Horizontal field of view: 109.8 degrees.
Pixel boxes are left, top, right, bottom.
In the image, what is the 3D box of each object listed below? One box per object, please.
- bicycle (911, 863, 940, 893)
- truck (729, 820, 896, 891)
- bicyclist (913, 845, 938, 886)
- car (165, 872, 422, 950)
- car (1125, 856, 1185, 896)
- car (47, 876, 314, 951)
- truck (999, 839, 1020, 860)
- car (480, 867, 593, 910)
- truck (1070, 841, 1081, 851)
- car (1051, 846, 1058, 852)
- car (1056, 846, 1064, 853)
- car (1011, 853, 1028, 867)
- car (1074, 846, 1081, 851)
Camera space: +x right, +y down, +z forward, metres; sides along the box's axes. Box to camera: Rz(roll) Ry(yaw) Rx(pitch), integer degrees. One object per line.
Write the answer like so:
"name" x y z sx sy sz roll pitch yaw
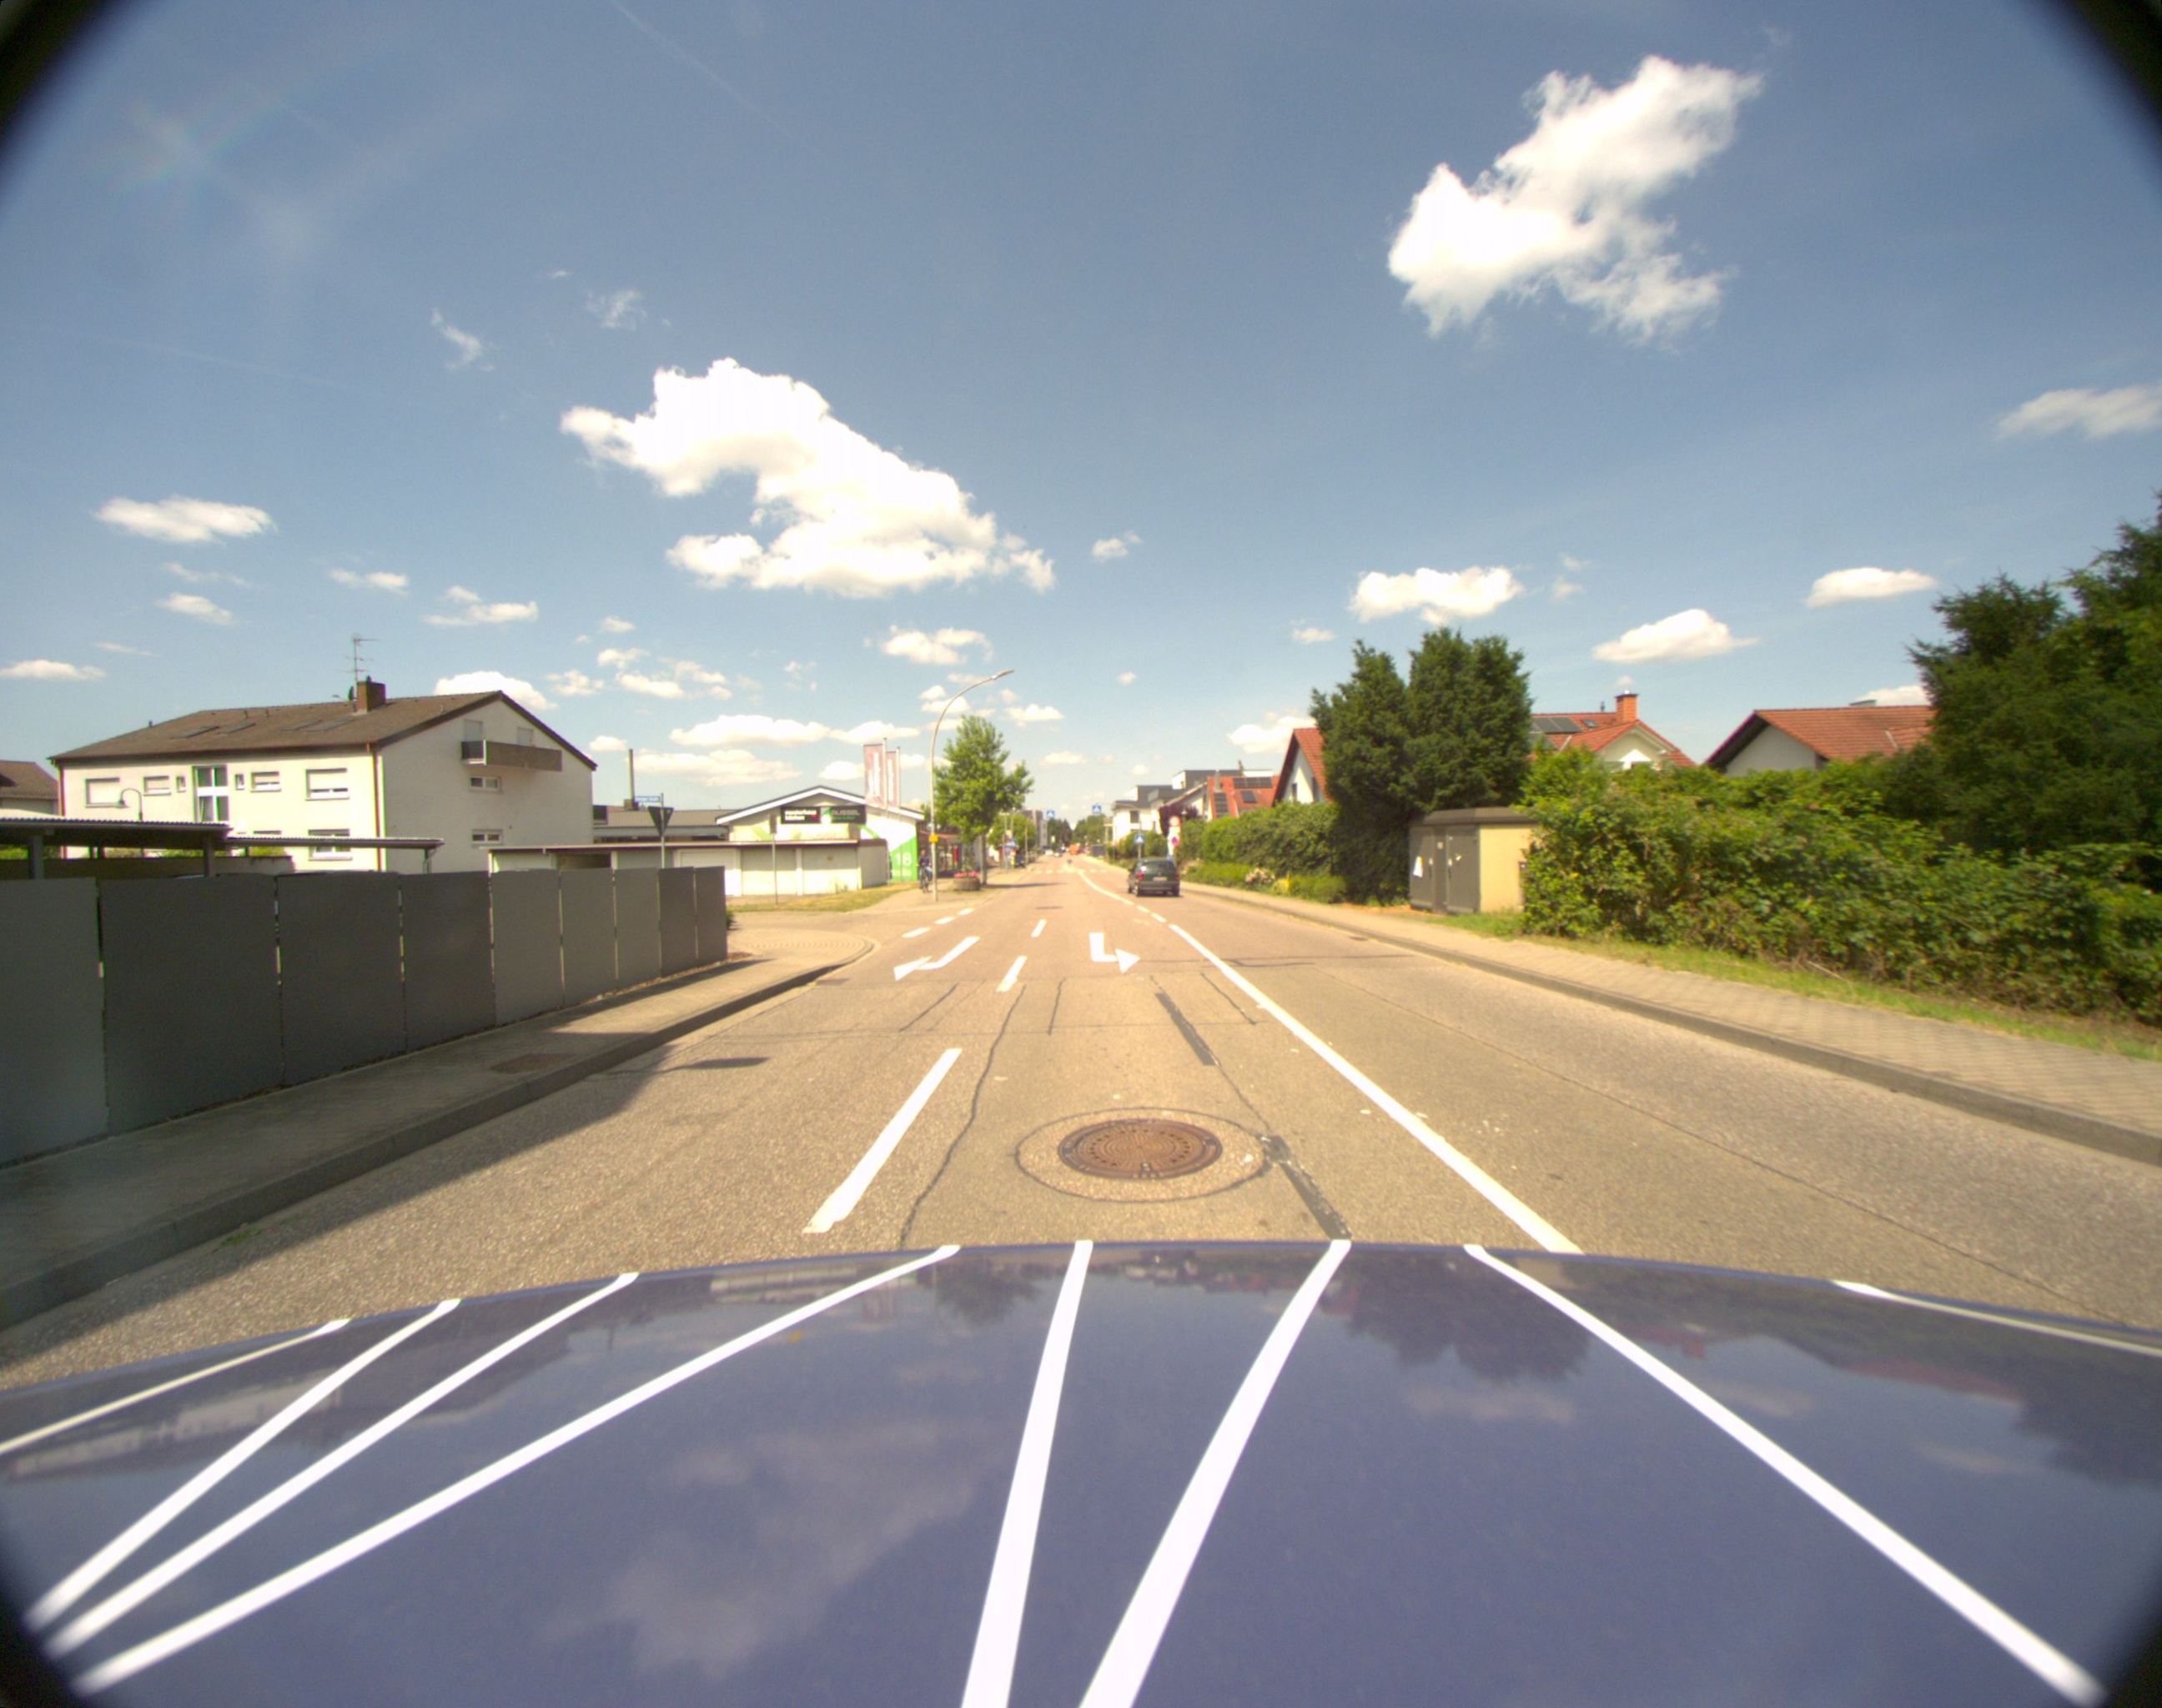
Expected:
"bicycle" -6.379 0.953 31.267 0.805 1.158 1.943 -1 0 -2
"truck" -14.816 0.043 42.353 8.192 3.553 2.676 -2 2 -2
"bicyclist" -6.394 0.470 31.232 0.805 1.620 1.111 -1 0 -2
"car" -18.653 1.269 18.342 1.741 1.638 4.217 0 -1 2
"car" 2.745 0.780 28.824 1.785 1.425 3.871 0 0 -2
"car" -21.221 1.327 18.184 1.741 1.577 3.854 0 -1 2
"truck" -9.624 -0.564 101.899 2.581 2.745 6.329 0 1 -7
"car" -22.464 1.386 31.569 1.679 1.494 4.131 -1 1 0
"truck" -1.458 -2.290 214.302 2.865 2.695 6.789 0 1 -2
"car" -6.943 -1.376 198.071 1.729 1.484 3.759 0 1 -1
"car" -4.820 -1.003 174.541 1.729 1.484 3.759 0 1 -1
"car" -7.007 0.686 87.029 1.729 1.484 3.758 0 1 -2
"car" -0.954 -1.452 198.347 1.799 1.480 3.612 0 1 -2
